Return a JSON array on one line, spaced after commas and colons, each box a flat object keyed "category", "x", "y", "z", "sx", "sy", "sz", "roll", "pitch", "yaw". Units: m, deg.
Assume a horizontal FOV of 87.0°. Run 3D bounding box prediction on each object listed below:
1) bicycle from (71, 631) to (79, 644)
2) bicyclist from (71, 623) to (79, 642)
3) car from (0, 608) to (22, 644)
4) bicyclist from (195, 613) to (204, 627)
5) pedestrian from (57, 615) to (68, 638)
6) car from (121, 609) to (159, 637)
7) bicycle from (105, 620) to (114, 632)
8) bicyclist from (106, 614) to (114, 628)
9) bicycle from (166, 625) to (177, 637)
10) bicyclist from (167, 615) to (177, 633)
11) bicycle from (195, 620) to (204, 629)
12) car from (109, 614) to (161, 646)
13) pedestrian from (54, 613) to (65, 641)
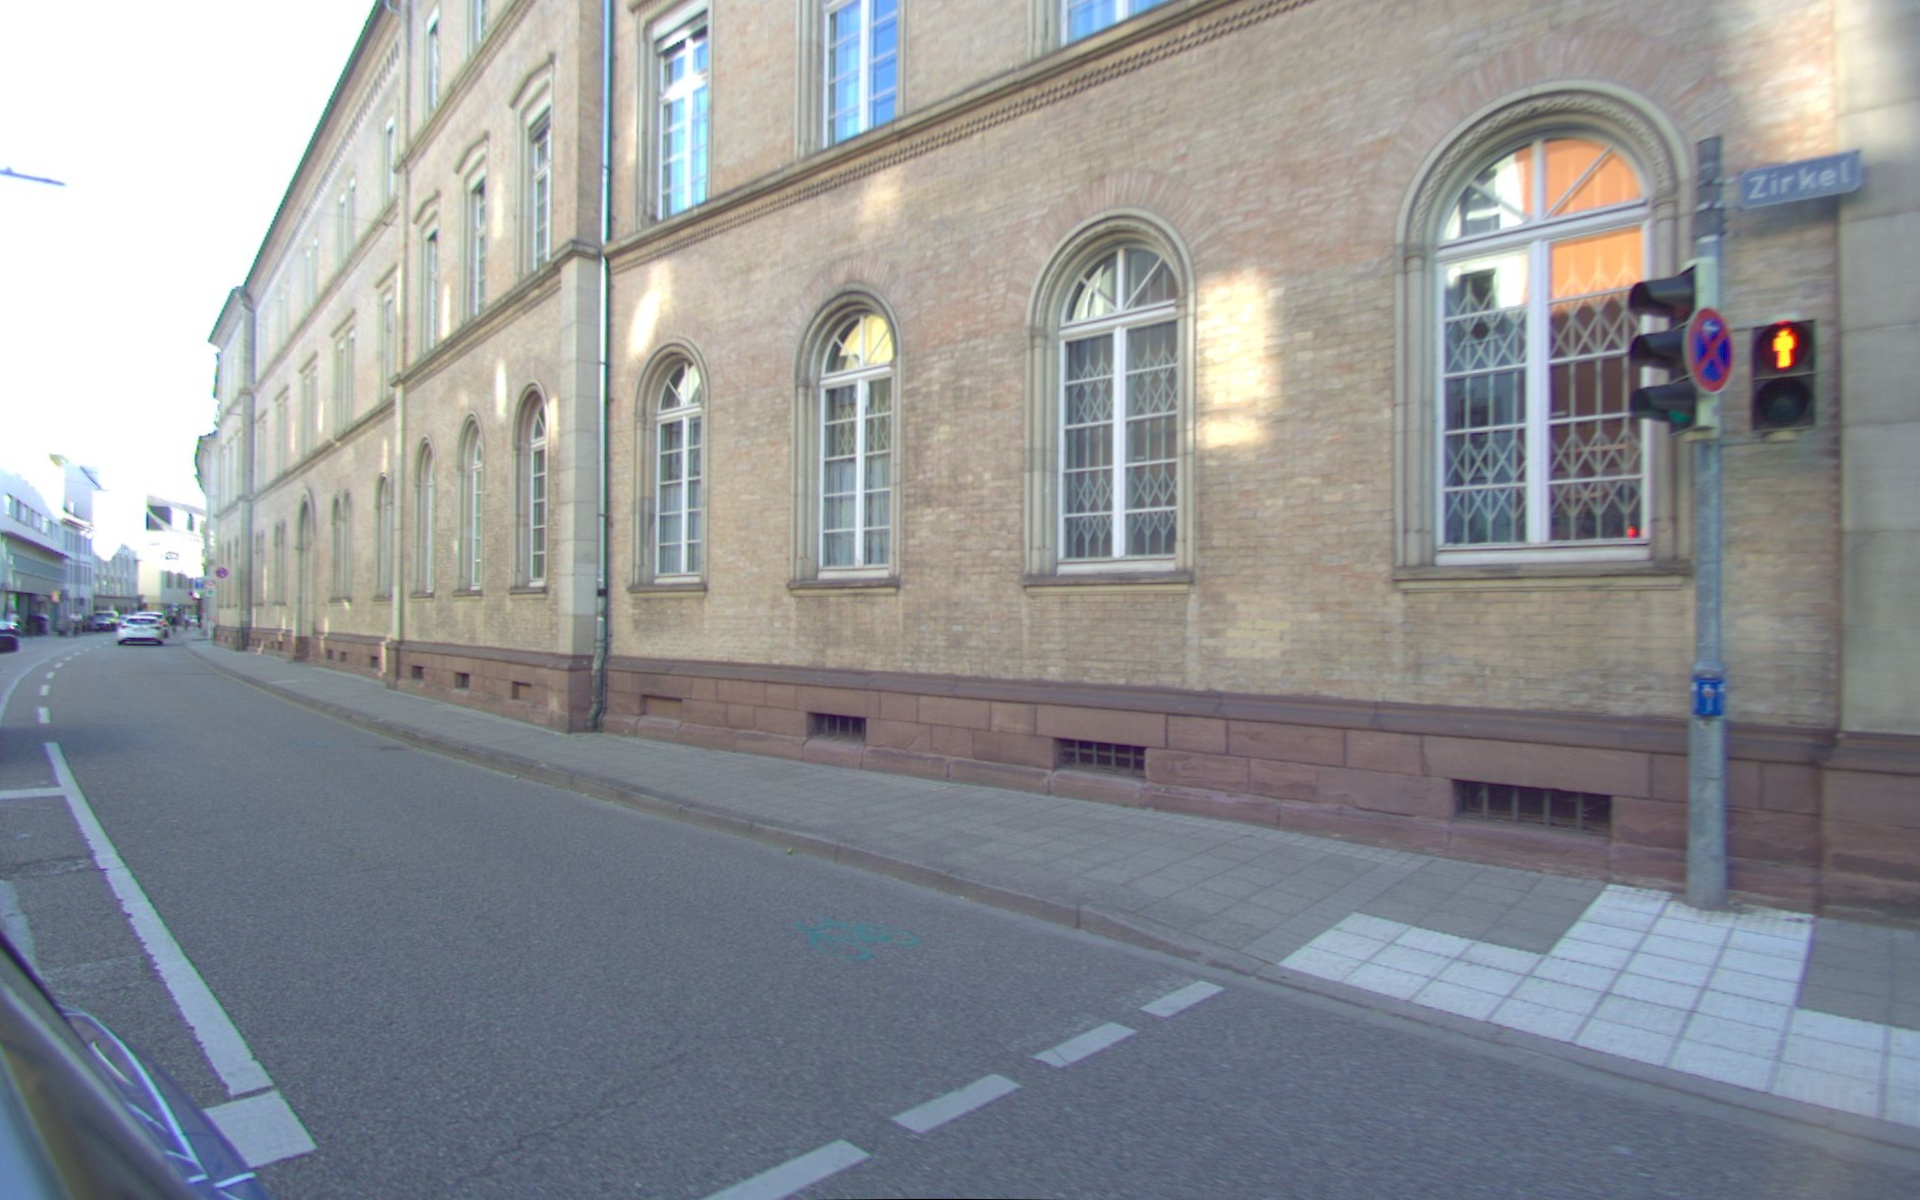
[{"category": "bicycle", "x": -52.926, "y": 2.225, "z": 60.517, "sx": 0.343, "sy": 0.729, "sz": 1.119, "roll": 1, "pitch": -2, "yaw": -42}, {"category": "bicyclist", "x": -52.930, "y": 1.933, "z": 60.526, "sx": 0.343, "sy": 1.116, "sz": 0.368, "roll": 1, "pitch": -2, "yaw": -42}, {"category": "car", "x": -53.765, "y": 1.398, "z": 54.379, "sx": 4.690, "sy": 1.953, "sz": 2.005, "roll": 1, "pitch": -1, "yaw": -36}, {"category": "bicyclist", "x": -83.698, "y": 2.242, "z": 111.371, "sx": 0.641, "sy": 1.520, "sz": 1.114, "roll": 4, "pitch": -3, "yaw": -34}, {"category": "pedestrian", "x": -60.183, "y": 1.779, "z": 67.839, "sx": 0.501, "sy": 1.572, "sz": 0.412, "roll": 1, "pitch": -2, "yaw": -40}, {"category": "car", "x": -49.764, "y": 1.394, "z": 61.484, "sx": 1.664, "sy": 1.594, "sz": 4.283, "roll": 4, "pitch": -3, "yaw": -38}, {"category": "bicycle", "x": -78.341, "y": 2.377, "z": 93.227, "sx": 0.540, "sy": 1.091, "sz": 1.967, "roll": 1, "pitch": -1, "yaw": -38}, {"category": "bicyclist", "x": -78.337, "y": 1.924, "z": 93.229, "sx": 0.540, "sy": 1.220, "sz": 0.585, "roll": 1, "pitch": -1, "yaw": -39}, {"category": "bicycle", "x": -62.673, "y": 2.437, "z": 80.464, "sx": 0.600, "sy": 0.935, "sz": 2.268, "roll": 1, "pitch": -2, "yaw": -40}, {"category": "bicyclist", "x": -62.533, "y": 1.901, "z": 80.292, "sx": 0.595, "sy": 1.454, "sz": 0.579, "roll": 1, "pitch": -2, "yaw": -40}, {"category": "bicycle", "x": -83.749, "y": 2.710, "z": 111.416, "sx": 0.641, "sy": 1.014, "sz": 1.880, "roll": 4, "pitch": -3, "yaw": -35}, {"category": "car", "x": -41.364, "y": 1.482, "z": 50.757, "sx": 1.863, "sy": 1.487, "sz": 4.553, "roll": 4, "pitch": -3, "yaw": -39}, {"category": "pedestrian", "x": -58.277, "y": 1.741, "z": 65.515, "sx": 0.501, "sy": 1.775, "sz": 0.412, "roll": 1, "pitch": -2, "yaw": -40}]
